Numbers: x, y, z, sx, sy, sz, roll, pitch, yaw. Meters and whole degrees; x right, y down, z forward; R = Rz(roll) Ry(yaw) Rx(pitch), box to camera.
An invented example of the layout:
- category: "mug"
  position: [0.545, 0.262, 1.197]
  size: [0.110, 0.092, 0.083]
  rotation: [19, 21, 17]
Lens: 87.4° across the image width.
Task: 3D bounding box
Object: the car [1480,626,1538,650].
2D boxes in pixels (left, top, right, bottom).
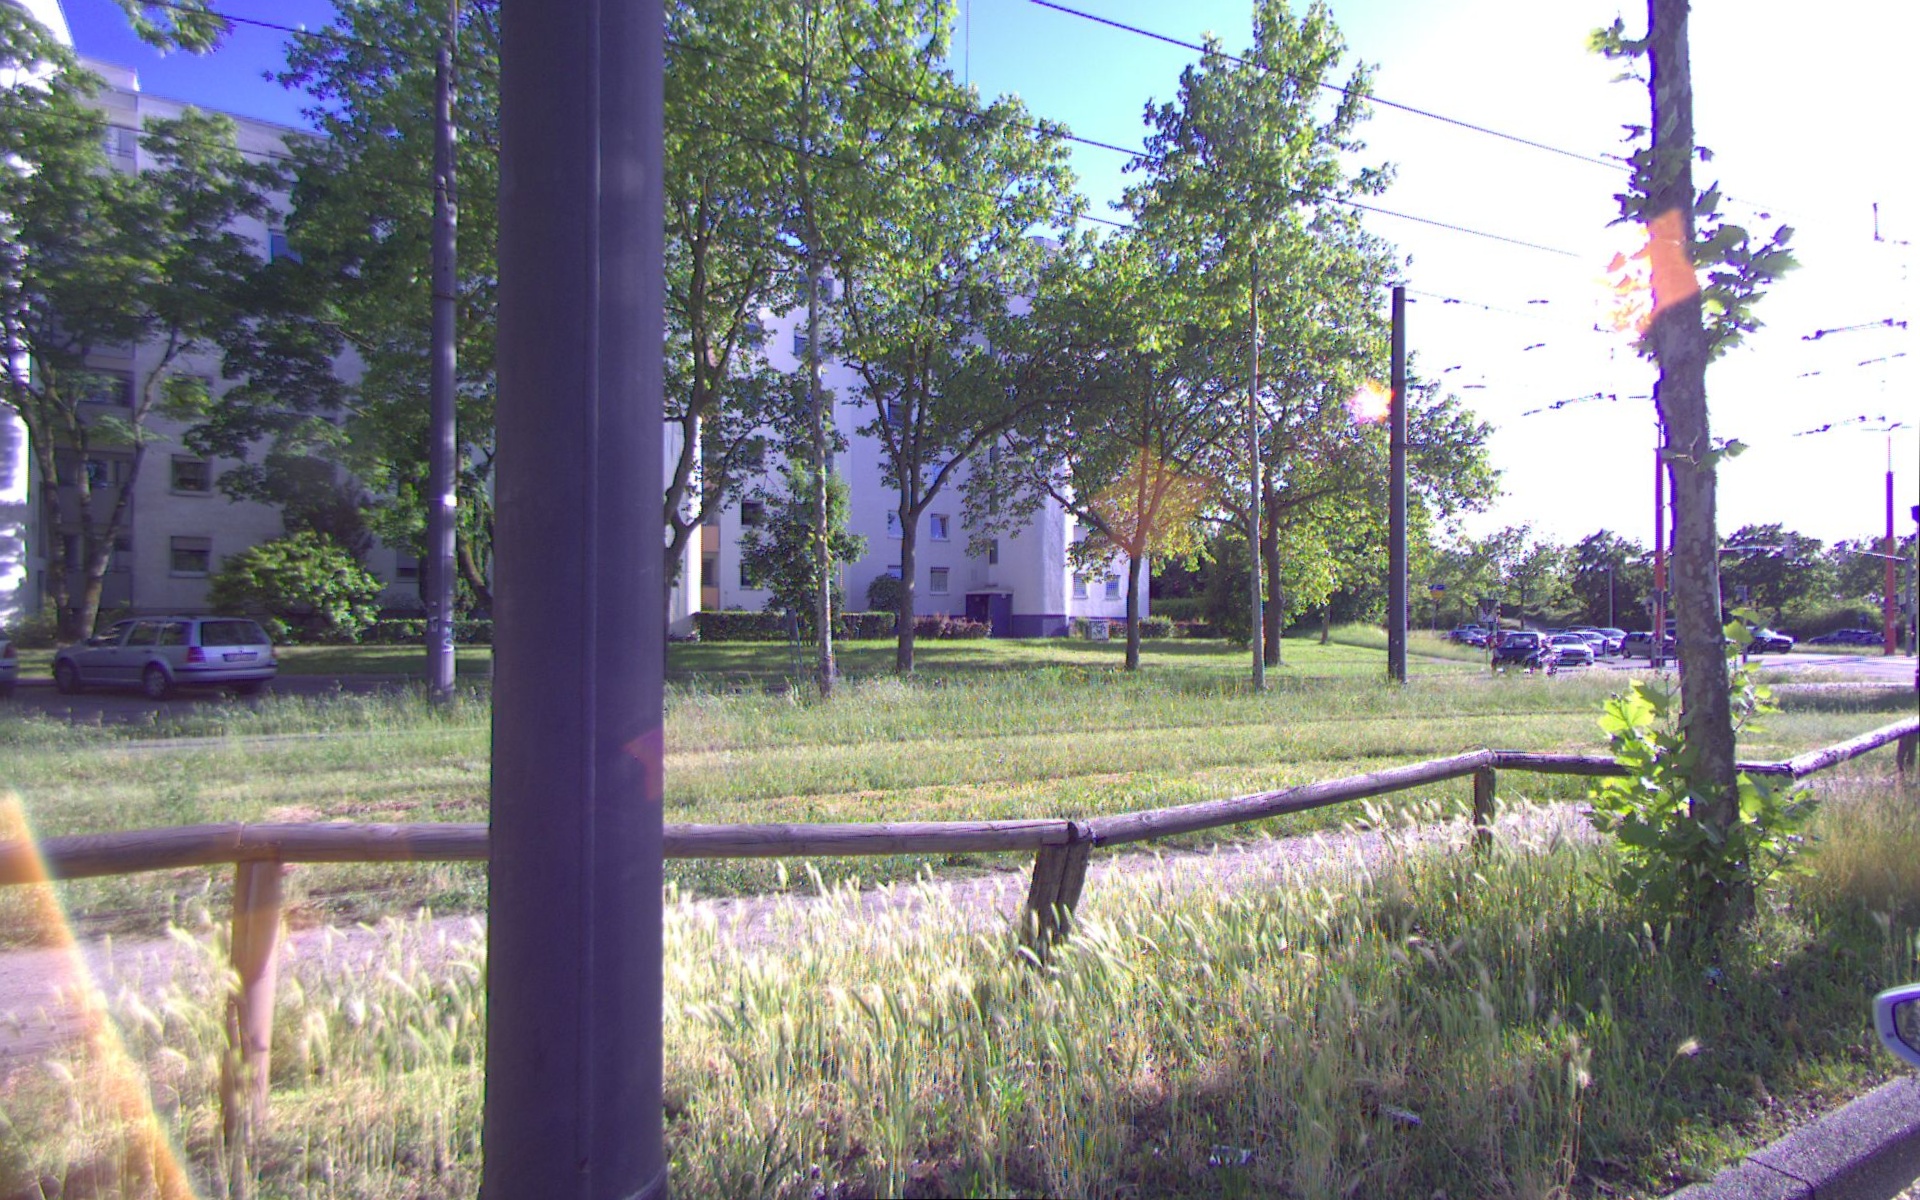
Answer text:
- category: "car"
  position: [38.494, 2.644, 70.518]
  size: [1.699, 1.533, 3.998]
  rotation: [1, -1, -4]

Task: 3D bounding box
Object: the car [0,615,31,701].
- category: "car"
  position: [-17.951, 0.961, 17.116]
  size: [3.547, 1.439, 1.576]
  rotation: [1, 0, 18]

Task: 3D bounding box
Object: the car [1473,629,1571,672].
- category: "car"
  position: [19.443, 1.727, 34.742]
  size: [2.816, 1.409, 1.790]
  rotation: [1, -1, -30]

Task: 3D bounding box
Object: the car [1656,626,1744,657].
- category: "car"
  position: [42.507, 2.338, 57.809]
  size: [1.962, 1.666, 3.997]
  rotation: [1, -1, -5]

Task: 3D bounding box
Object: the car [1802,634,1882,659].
- category: "car"
  position: [60.170, 3.139, 68.600]
  size: [1.793, 1.619, 4.132]
  rotation: [1, -1, -2]

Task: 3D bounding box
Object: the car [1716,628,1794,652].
- category: "car"
  position: [48.787, 2.422, 61.741]
  size: [1.664, 1.347, 4.001]
  rotation: [1, -1, 2]

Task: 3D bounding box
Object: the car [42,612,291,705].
- category: "car"
  position: [-14.586, 1.014, 18.501]
  size: [3.898, 1.462, 1.710]
  rotation: [1, 0, 18]

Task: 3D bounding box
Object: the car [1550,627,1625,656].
- category: "car"
  position: [38.929, 2.549, 62.467]
  size: [1.833, 1.633, 4.185]
  rotation: [1, -1, -4]

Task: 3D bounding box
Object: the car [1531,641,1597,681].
- category: "car"
  position: [30.324, 3.012, 50.567]
  size: [1.961, 1.754, 4.845]
  rotation: [0, -1, 21]
